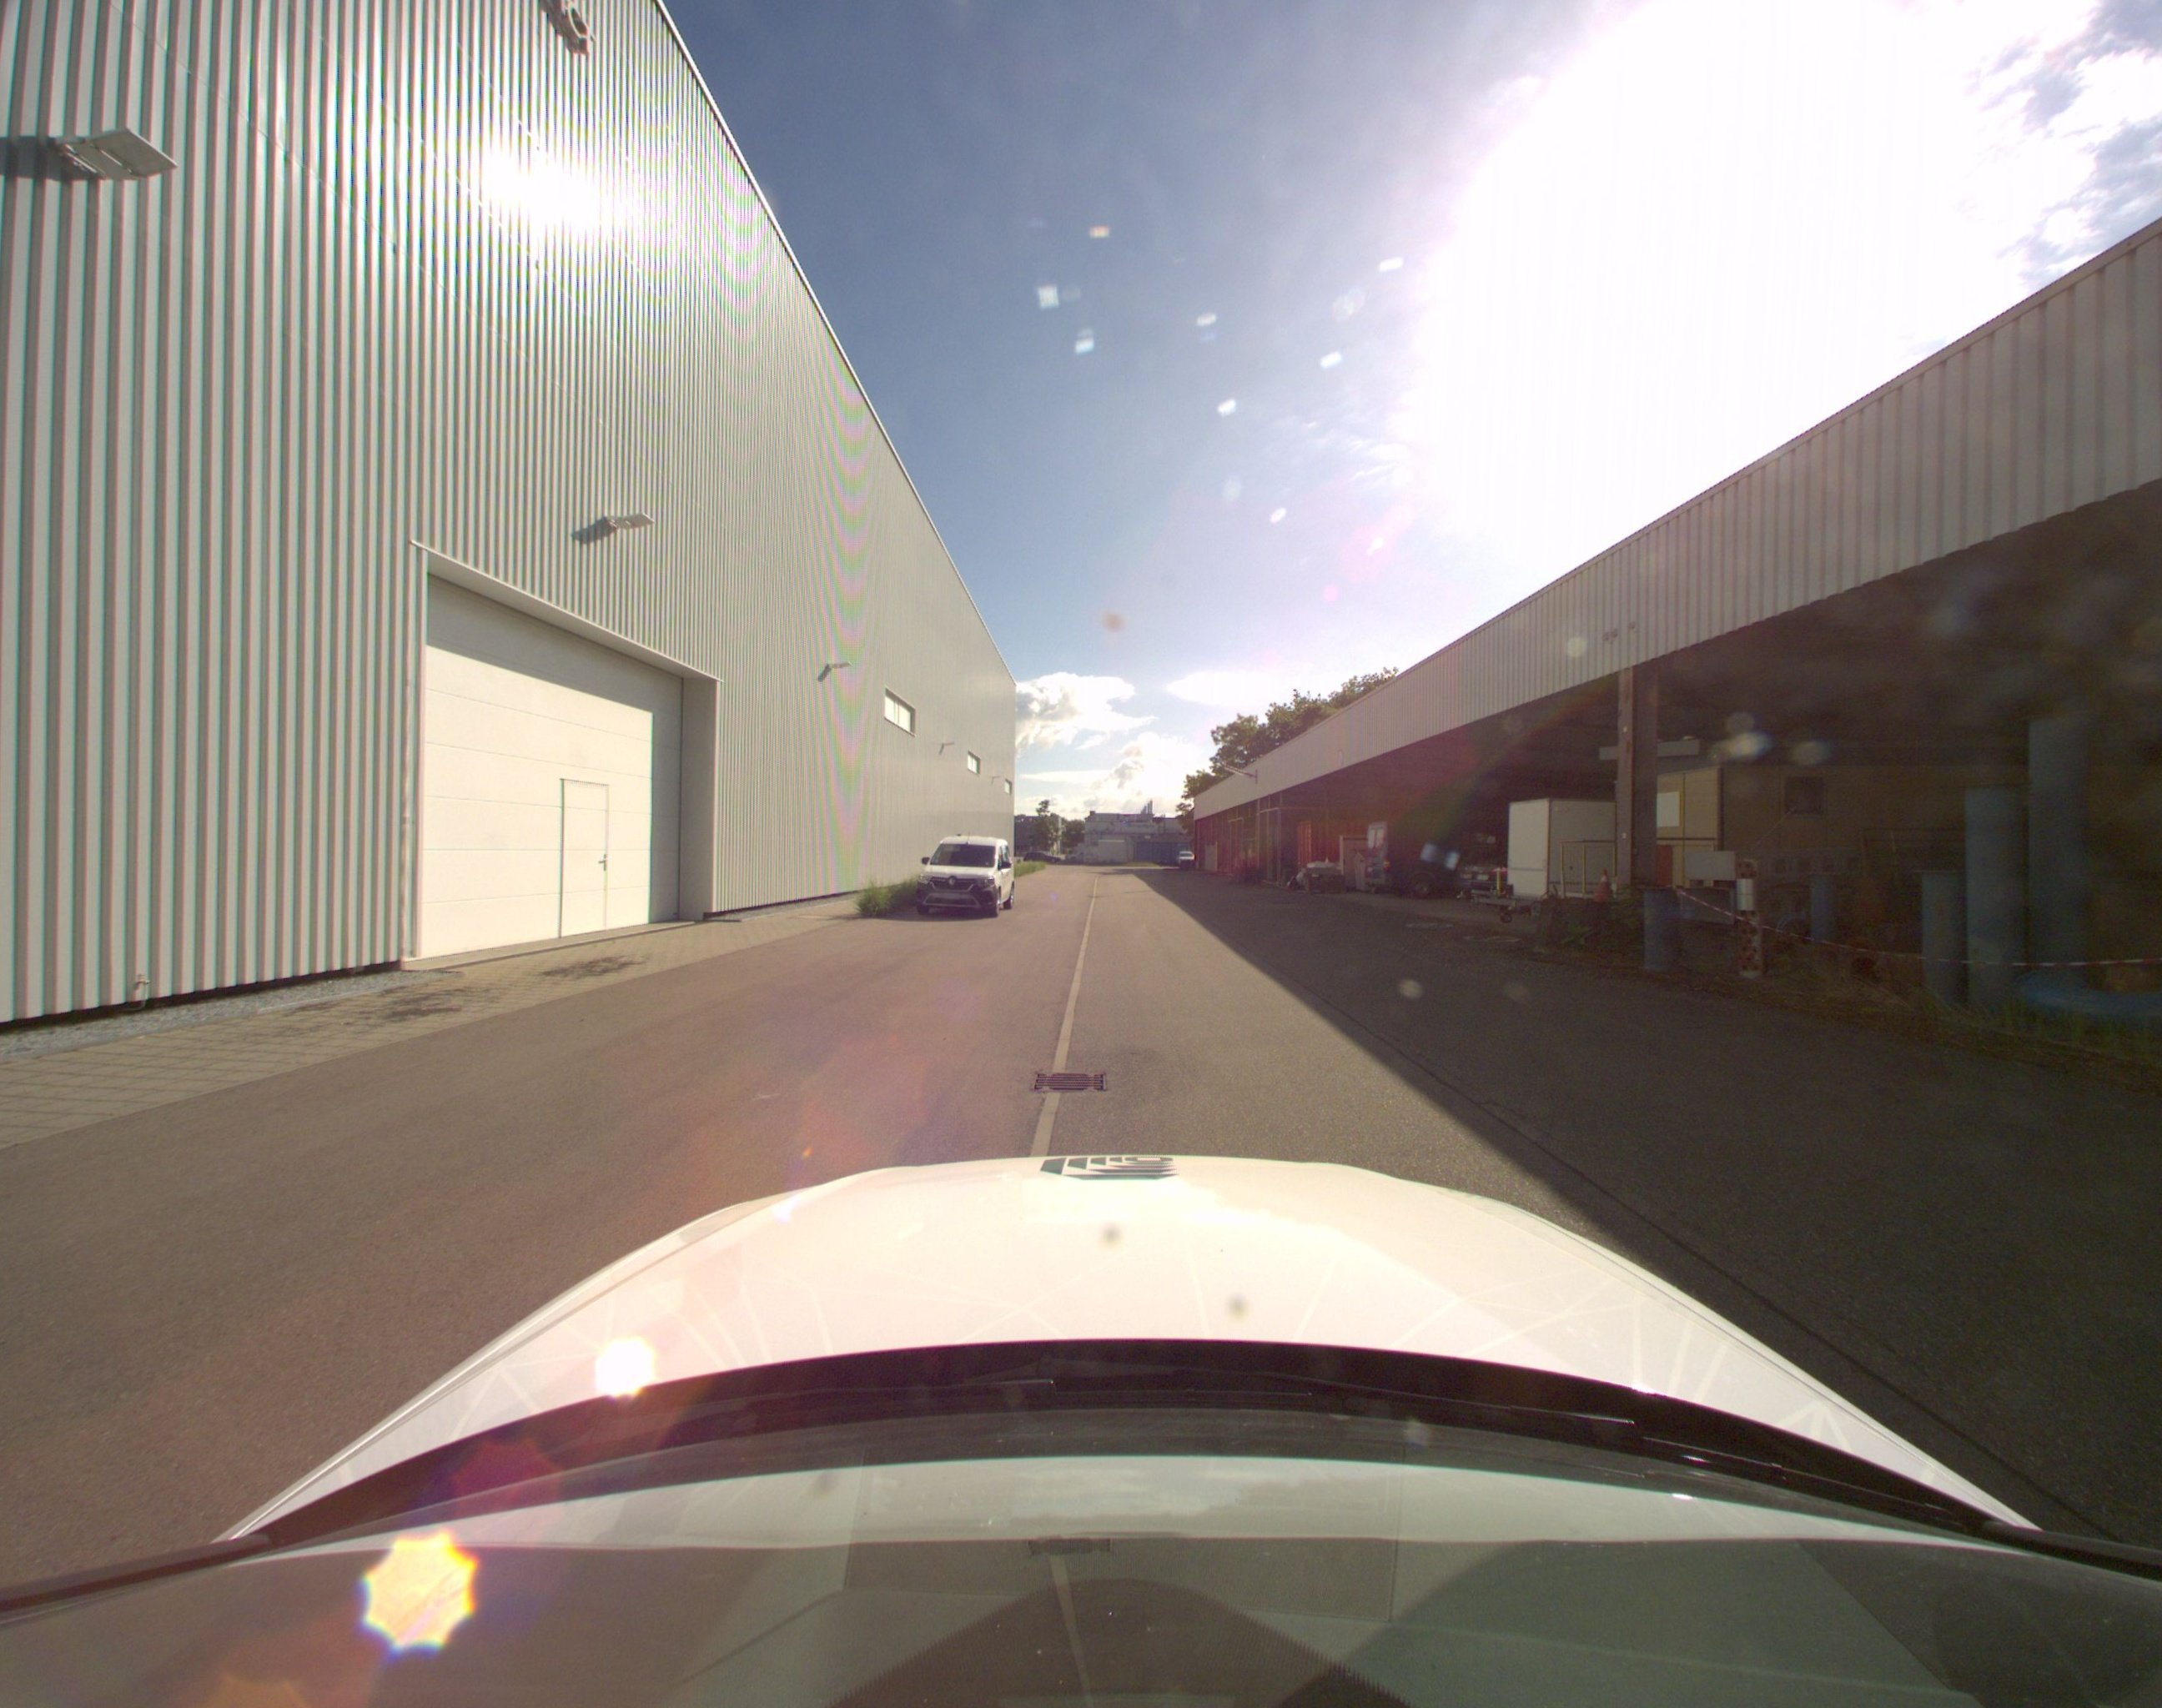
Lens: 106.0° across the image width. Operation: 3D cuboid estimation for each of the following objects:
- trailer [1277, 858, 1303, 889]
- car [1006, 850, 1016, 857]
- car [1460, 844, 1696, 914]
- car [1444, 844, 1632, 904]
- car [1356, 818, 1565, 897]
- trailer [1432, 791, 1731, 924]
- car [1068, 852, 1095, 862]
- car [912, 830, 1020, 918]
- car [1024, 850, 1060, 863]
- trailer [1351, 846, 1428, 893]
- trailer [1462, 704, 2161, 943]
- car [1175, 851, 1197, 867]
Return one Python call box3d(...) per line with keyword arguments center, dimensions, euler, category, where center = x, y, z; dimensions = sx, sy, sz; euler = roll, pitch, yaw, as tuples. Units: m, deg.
box3d(center=(7.765, 0.697, 30.342), dimensions=(0.550, 1.118, 1.546), euler=(-1, 0, 0), category="trailer")
box3d(center=(-16.945, -0.156, 197.141), dimensions=(1.852, 1.494, 4.028), euler=(-1, 0, 0), category="car")
box3d(center=(11.053, 0.528, 18.327), dimensions=(4.237, 1.471, 1.869), euler=(0, 0, -2), category="car")
box3d(center=(11.903, 0.508, 21.400), dimensions=(3.953, 1.514, 1.839), euler=(0, -1, -2), category="car")
box3d(center=(11.308, 0.108, 24.566), dimensions=(5.314, 2.281, 2.153), euler=(0, -1, 0), category="car")
box3d(center=(9.509, 0.082, 15.794), dimensions=(4.498, 2.342, 2.048), euler=(-1, -1, 2), category="trailer")
box3d(center=(0.093, 0.438, 129.417), dimensions=(4.288, 1.457, 1.824), euler=(-1, 0, 0), category="car")
box3d(center=(-2.607, 0.434, 19.567), dimensions=(1.777, 1.816, 4.602), euler=(2, 0, 1), category="car")
box3d(center=(-4.860, 0.338, 101.585), dimensions=(4.432, 1.531, 1.824), euler=(-1, 0, 0), category="car")
box3d(center=(10.260, 0.504, 27.194), dimensions=(2.028, 1.466, 1.741), euler=(-1, 0, 5), category="trailer")
box3d(center=(12.001, -0.446, 13.260), dimensions=(10.229, 3.343, 2.802), euler=(-1, 0, 1), category="trailer")
box3d(center=(11.425, 0.476, 88.880), dimensions=(1.971, 1.602, 4.381), euler=(-1, 1, 3), category="car")
